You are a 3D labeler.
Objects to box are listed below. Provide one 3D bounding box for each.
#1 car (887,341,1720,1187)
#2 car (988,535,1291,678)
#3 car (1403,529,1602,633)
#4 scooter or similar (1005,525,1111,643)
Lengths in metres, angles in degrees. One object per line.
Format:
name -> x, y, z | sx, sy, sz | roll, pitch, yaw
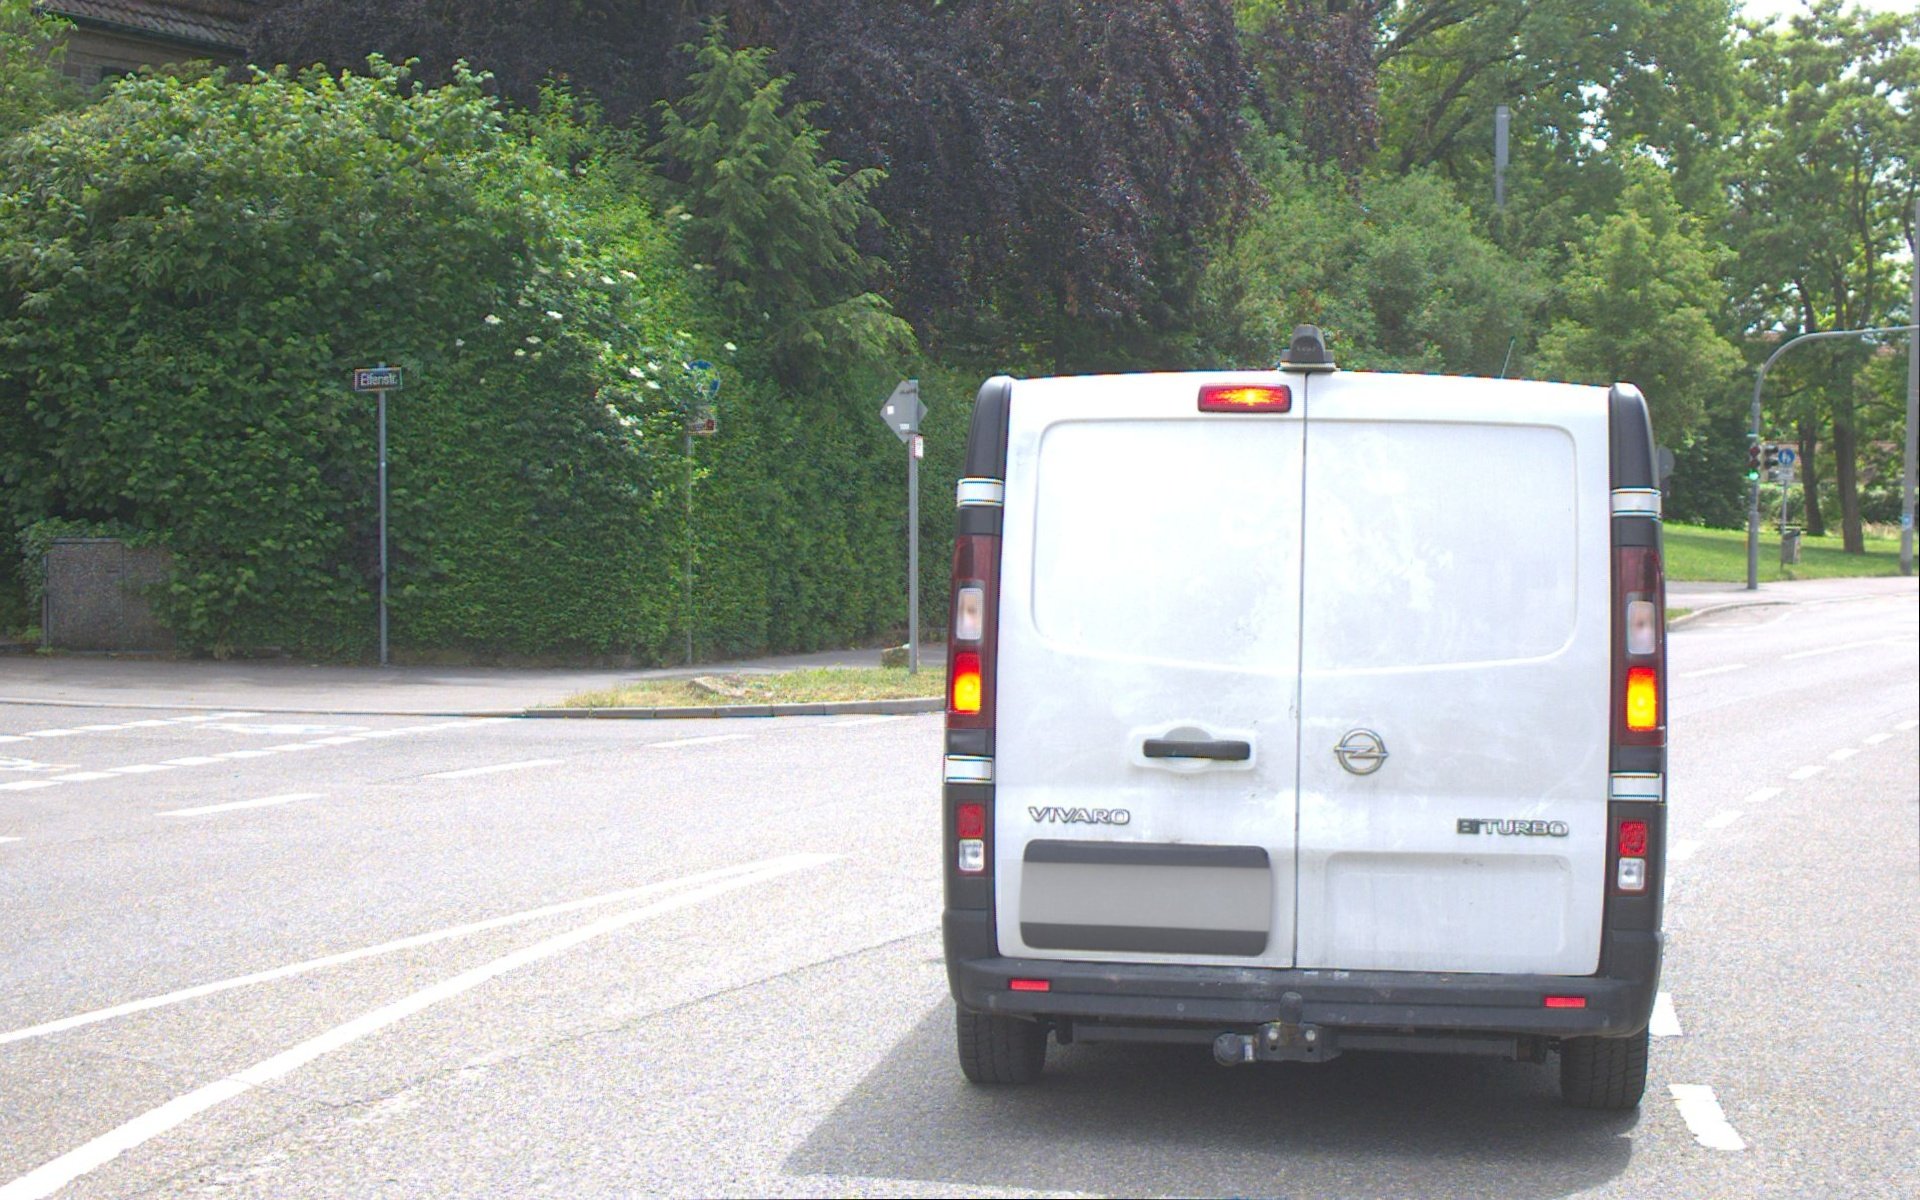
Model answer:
car -> 1.244, 0.339, 10.670 | 1.939, 1.954, 4.831 | 2, 1, 10
car -> 1.995, 0.022, 36.721 | 1.663, 1.373, 4.560 | 3, 2, 24
car -> 7.928, -0.304, 49.909 | 1.697, 1.360, 4.681 | 3, 2, 23
scooter or similar -> 1.220, -0.209, 42.470 | 0.671, 1.407, 1.647 | 2, 2, 25
